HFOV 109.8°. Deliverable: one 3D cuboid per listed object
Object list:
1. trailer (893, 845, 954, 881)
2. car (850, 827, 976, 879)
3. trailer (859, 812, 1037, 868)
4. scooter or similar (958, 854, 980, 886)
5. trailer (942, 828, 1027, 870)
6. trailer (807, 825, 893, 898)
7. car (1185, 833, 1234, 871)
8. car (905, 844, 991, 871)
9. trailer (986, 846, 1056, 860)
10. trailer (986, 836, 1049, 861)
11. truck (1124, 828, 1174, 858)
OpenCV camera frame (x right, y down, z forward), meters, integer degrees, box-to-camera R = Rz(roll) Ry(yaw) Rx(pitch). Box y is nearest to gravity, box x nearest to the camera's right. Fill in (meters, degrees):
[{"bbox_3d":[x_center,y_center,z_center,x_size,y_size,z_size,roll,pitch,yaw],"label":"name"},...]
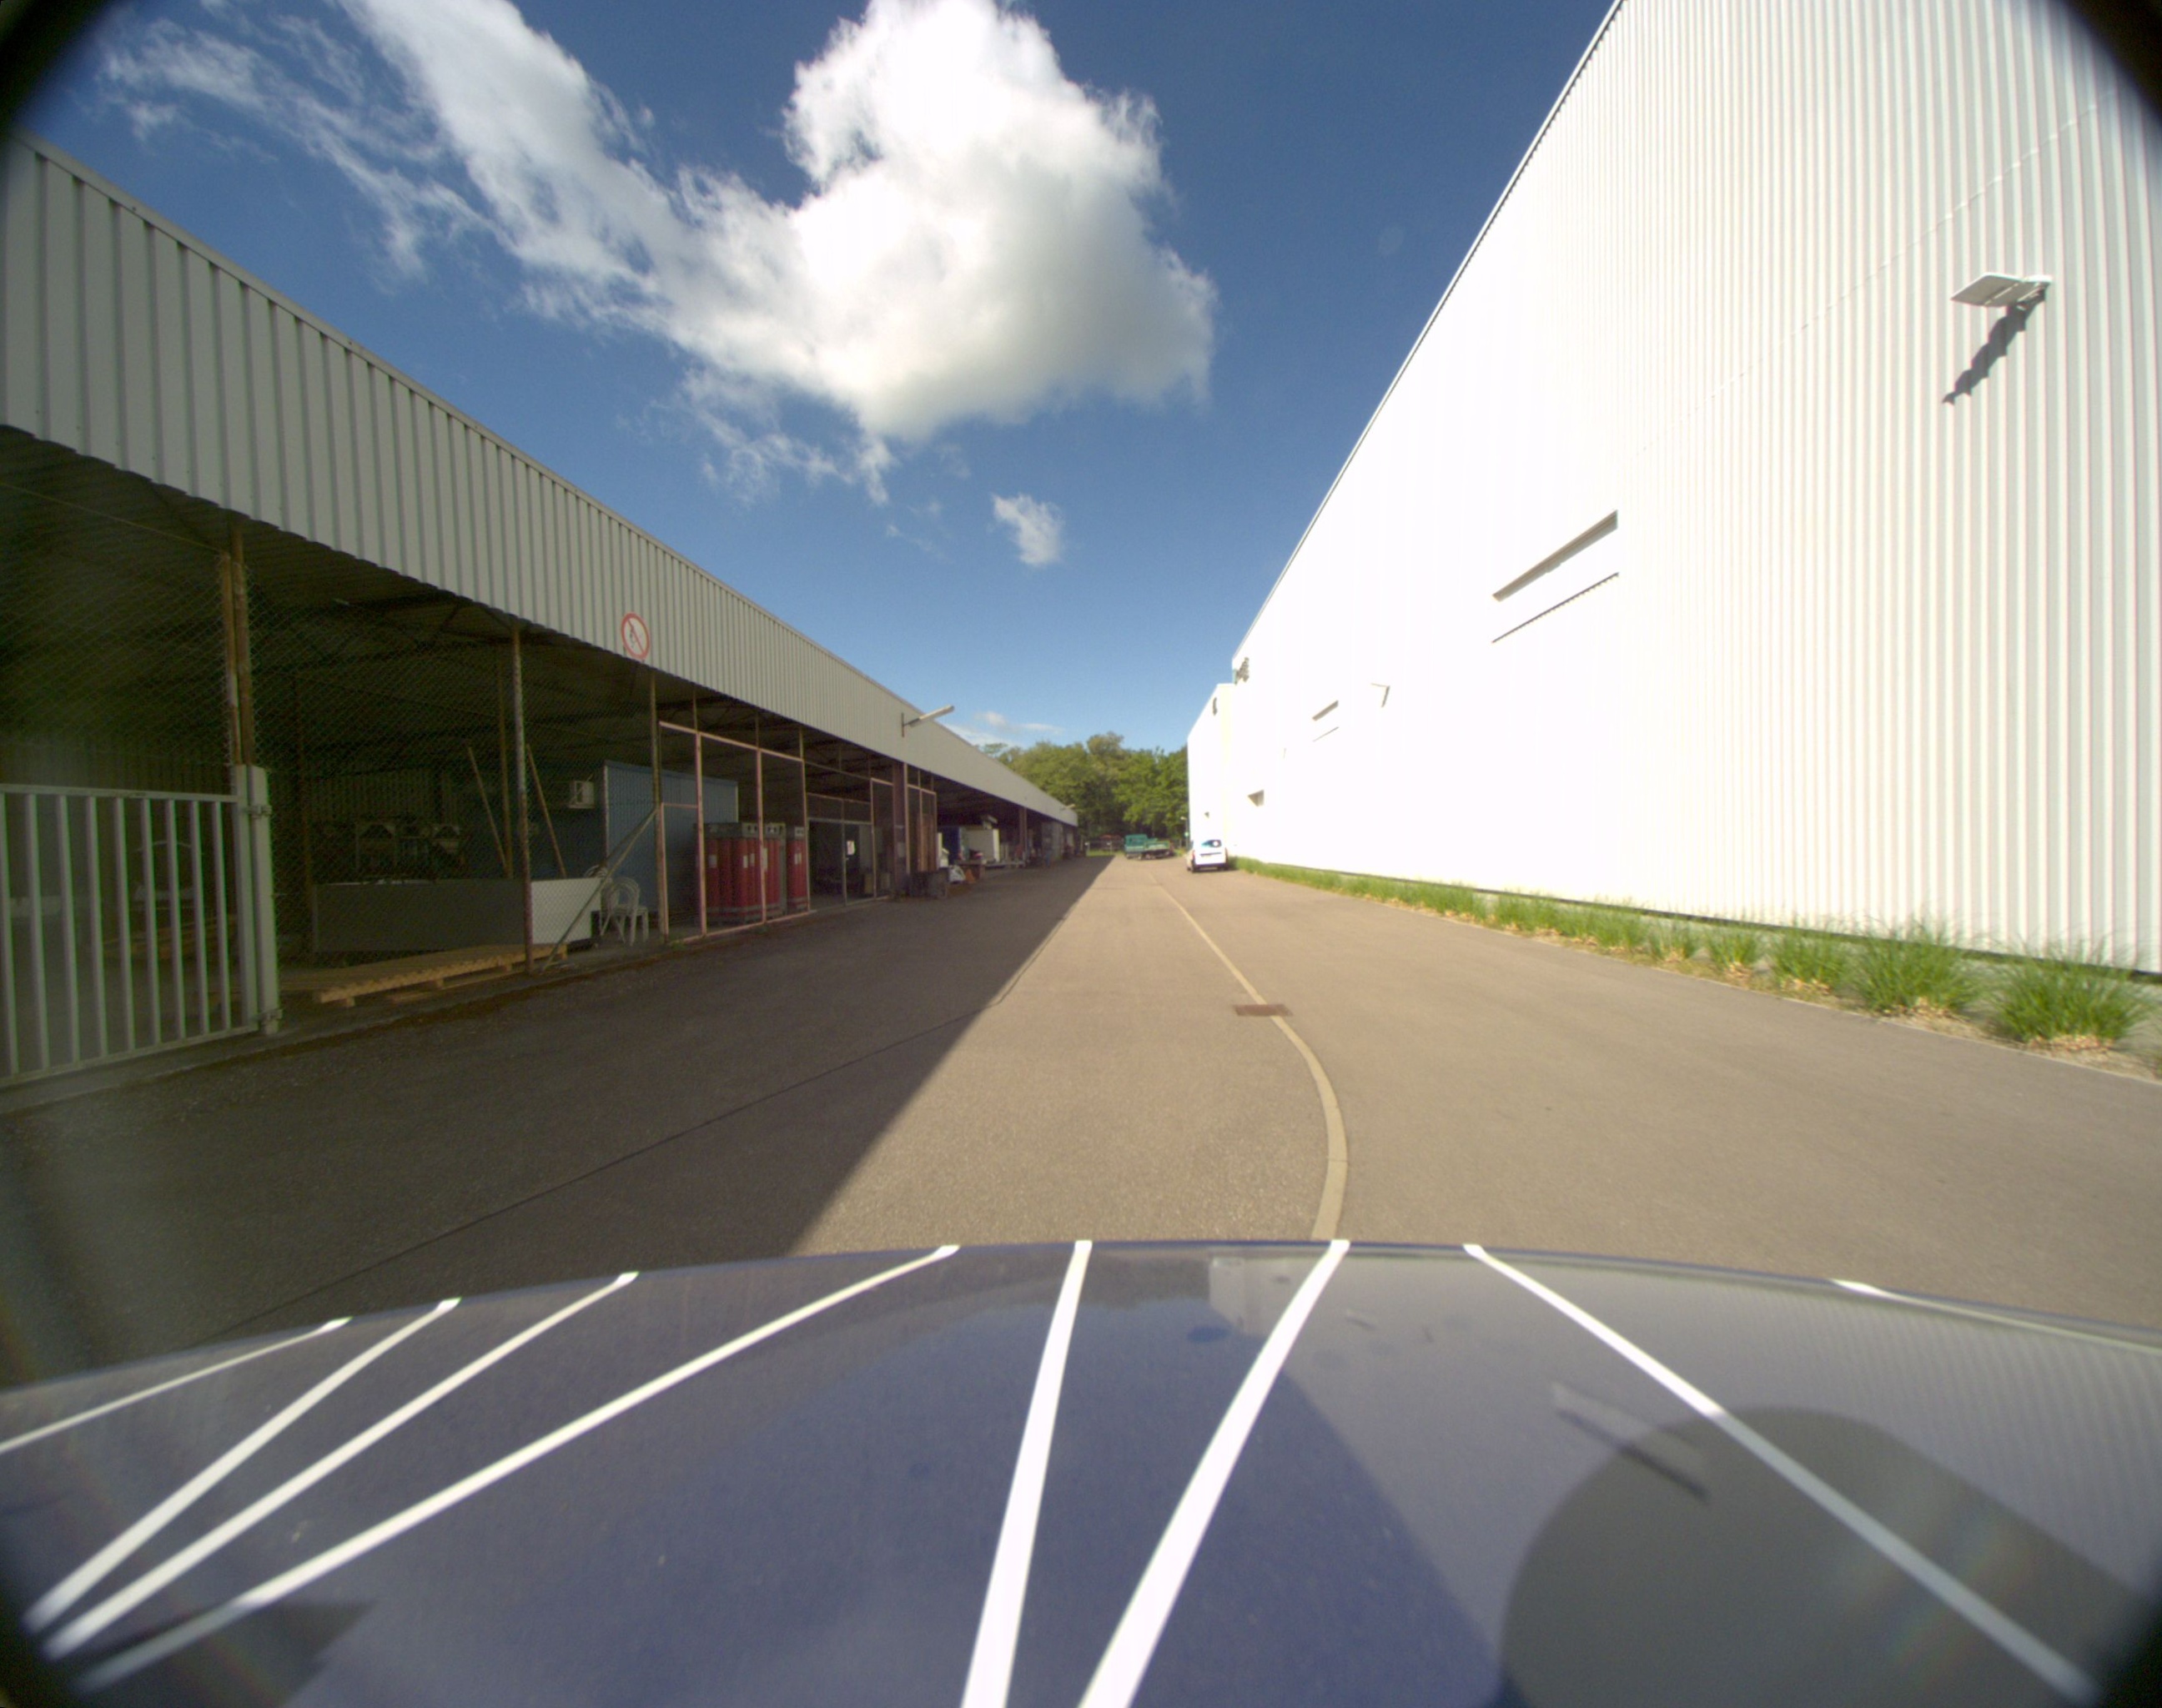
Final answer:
[{"bbox_3d":[-6.693,0.363,32.348,2.098,1.454,1.642,0,2,6],"label":"trailer"},{"bbox_3d":[-7.665,-0.081,34.999,5.228,2.284,2.084,-1,2,2],"label":"car"},{"bbox_3d":[-8.008,-0.852,46.398,10.315,3.276,2.675,0,1,4],"label":"trailer"},{"bbox_3d":[-4.273,0.589,29.035,0.521,1.128,1.592,-1,2,3],"label":"scooter or similar"},{"bbox_3d":[-5.517,-0.296,43.744,4.551,2.322,1.689,0,1,4],"label":"trailer"},{"bbox_3d":[-7.143,0.170,23.865,1.581,2.131,3.520,0,2,1],"label":"trailer"},{"bbox_3d":[6.582,-0.141,39.383,1.933,1.780,4.598,-3,1,3],"label":"car"},{"bbox_3d":[-7.169,0.170,41.248,4.355,1.425,1.864,0,2,0],"label":"car"},{"bbox_3d":[-5.108,-0.068,65.389,5.747,1.126,2.009,-1,1,2],"label":"trailer"},{"bbox_3d":[-5.153,-0.459,62.042,4.827,1.985,2.047,0,2,6],"label":"trailer"},{"bbox_3d":[6.736,-1.114,77.186,2.589,2.701,9.686,-4,1,-9],"label":"truck"}]
